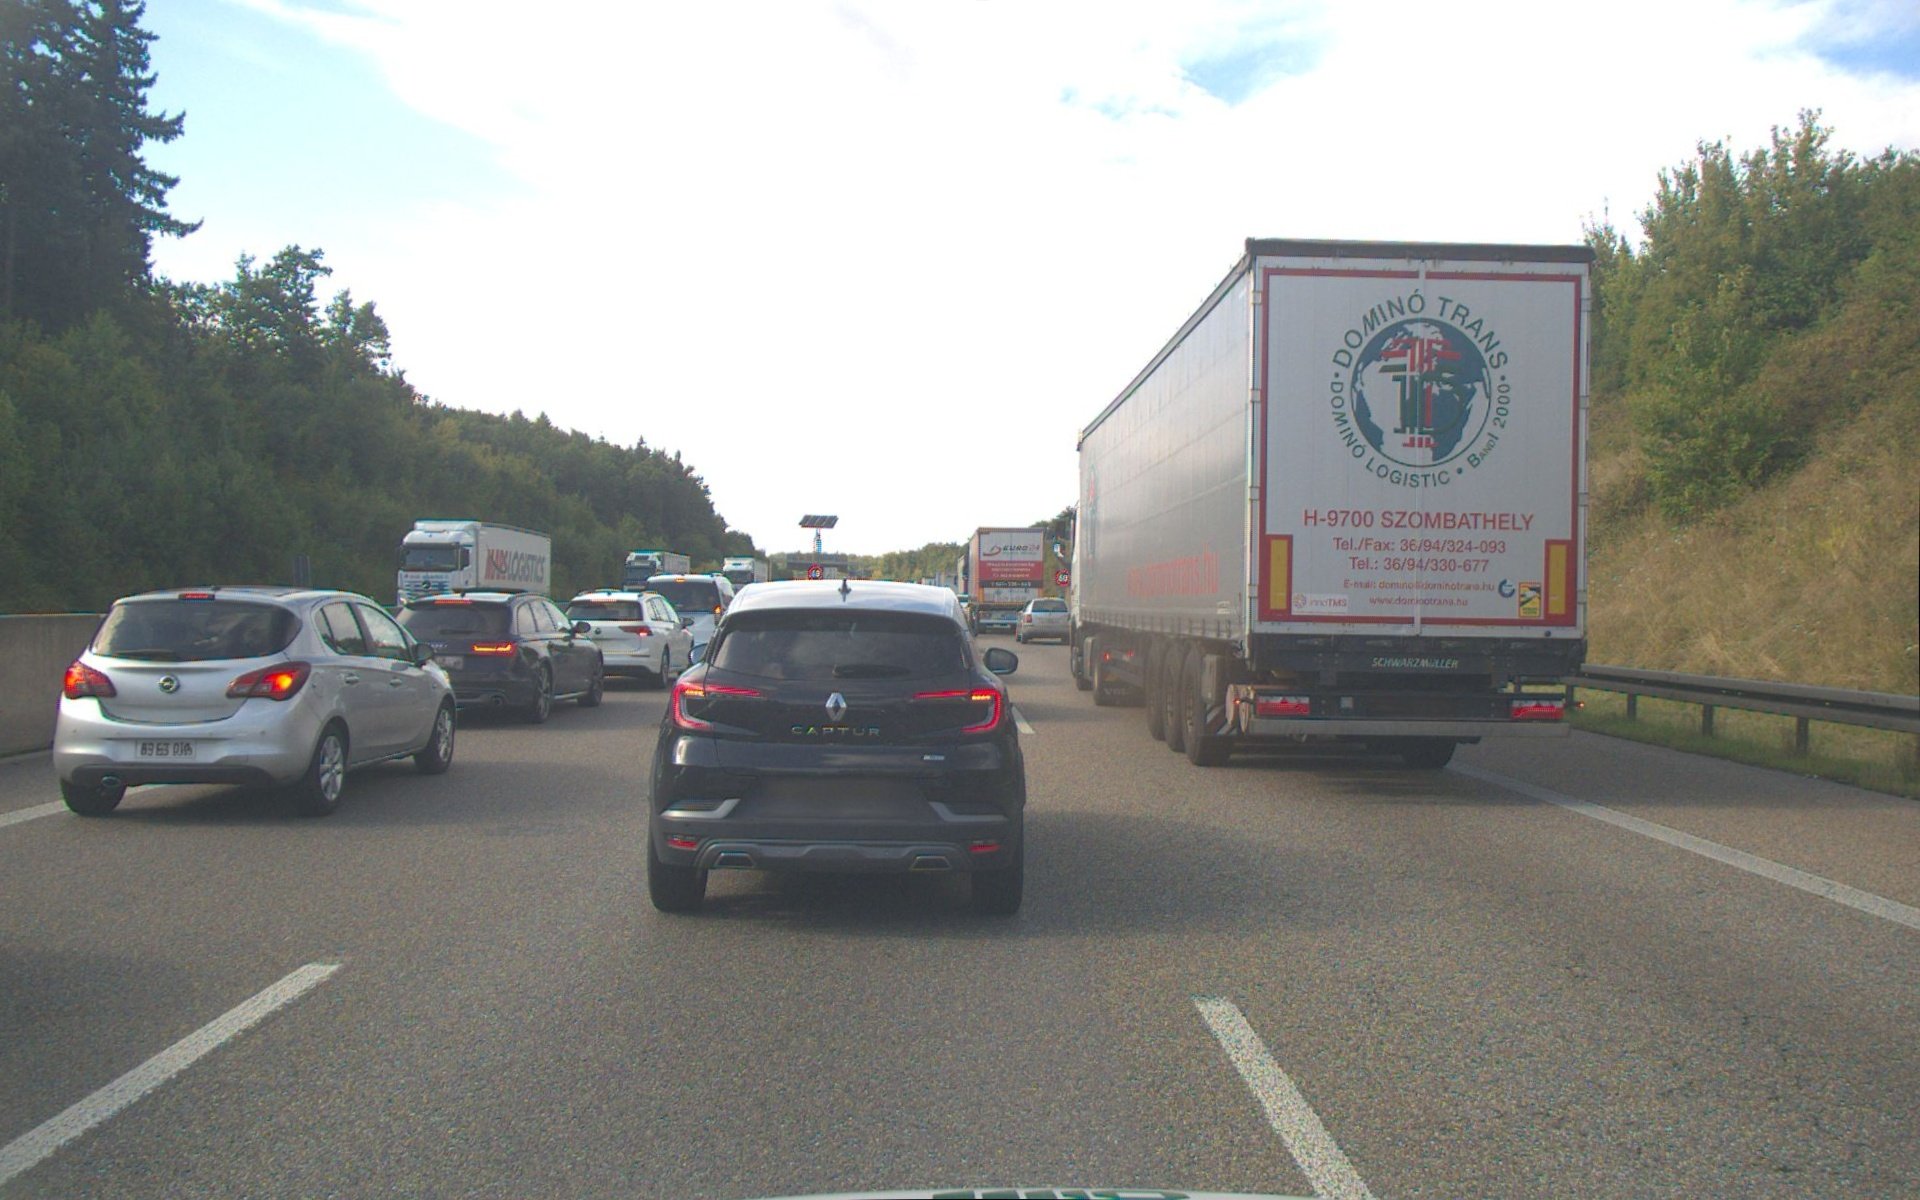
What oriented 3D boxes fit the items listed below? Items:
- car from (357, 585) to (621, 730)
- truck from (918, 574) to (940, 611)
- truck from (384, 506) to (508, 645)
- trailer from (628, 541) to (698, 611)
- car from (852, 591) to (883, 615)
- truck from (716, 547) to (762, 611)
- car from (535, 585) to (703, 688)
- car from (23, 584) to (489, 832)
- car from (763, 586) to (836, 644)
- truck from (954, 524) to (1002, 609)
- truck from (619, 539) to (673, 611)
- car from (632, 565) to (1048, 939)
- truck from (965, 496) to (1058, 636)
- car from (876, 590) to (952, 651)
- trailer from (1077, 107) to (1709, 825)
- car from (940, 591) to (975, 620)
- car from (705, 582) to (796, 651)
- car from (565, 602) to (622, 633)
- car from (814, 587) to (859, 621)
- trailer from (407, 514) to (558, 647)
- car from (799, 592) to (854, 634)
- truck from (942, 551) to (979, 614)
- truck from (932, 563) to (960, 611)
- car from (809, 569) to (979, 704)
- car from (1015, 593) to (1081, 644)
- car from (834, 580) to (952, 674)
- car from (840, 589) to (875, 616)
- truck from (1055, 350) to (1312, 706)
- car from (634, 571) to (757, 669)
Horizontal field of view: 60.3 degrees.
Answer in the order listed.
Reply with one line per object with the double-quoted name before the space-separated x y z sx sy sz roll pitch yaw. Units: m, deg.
"car" -5.408 0.588 19.674 1.805 1.481 4.747 1 0 -1
"truck" -4.866 -1.115 260.335 3.102 5.601 12.735 1 0 0
"truck" -21.025 -0.937 68.057 2.978 5.344 6.881 1 0 -1
"trailer" -22.237 -1.654 124.639 2.868 4.914 14.649 1 0 -1
"car" -6.564 0.181 117.770 1.953 1.641 4.000 1 0 -1
"truck" -18.739 -1.719 140.678 3.025 5.190 7.139 1 0 -1
"car" -5.352 0.550 26.463 1.767 1.486 4.308 1 0 0
"car" -4.819 0.635 12.000 1.711 1.491 4.040 0 0 -1
"car" -5.101 0.468 53.042 1.953 1.752 3.999 1 0 -1
"truck" 1.175 -2.216 117.283 3.102 5.601 12.735 1 0 0
"truck" -22.085 -1.713 116.580 2.872 4.943 4.764 1 0 -2
"car" -0.469 0.648 9.077 1.767 1.579 4.001 0 0 1
"truck" 1.939 -1.218 67.813 3.296 5.132 12.735 1 0 0
"car" -1.201 0.548 44.787 1.953 1.540 3.999 1 0 -1
"trailer" 3.371 -0.917 17.693 2.941 4.742 13.286 1 0 -1
"car" -0.186 0.292 95.327 1.953 1.641 4.000 1 0 -1
"car" -5.347 0.417 42.630 1.817 1.669 3.925 1 0 0
"car" -17.929 0.830 81.053 1.914 1.453 4.322 1 0 -1
"car" -6.180 0.180 83.194 1.953 1.641 4.000 1 0 -1
"trailer" -21.190 -0.753 74.505 2.980 5.373 13.831 1 0 -1
"car" -5.510 0.542 68.583 1.953 1.641 3.999 1 0 -1
"truck" 0.132 -1.512 155.374 3.101 5.601 12.738 1 0 1
"truck" -1.574 -1.423 189.906 3.102 5.250 12.735 1 0 0
"car" -0.787 0.433 21.344 1.953 1.540 3.999 1 0 -1
"car" 2.772 0.575 52.813 1.768 1.559 3.924 1 0 -2
"car" -1.149 0.470 29.760 1.953 1.540 3.999 1 0 -1
"car" -6.337 0.132 102.438 1.953 1.641 4.000 1 0 -1
"truck" 3.182 -0.977 25.214 2.936 4.749 5.938 1 0 -1
"car" -5.271 0.388 33.483 1.873 1.821 4.415 1 0 -2
